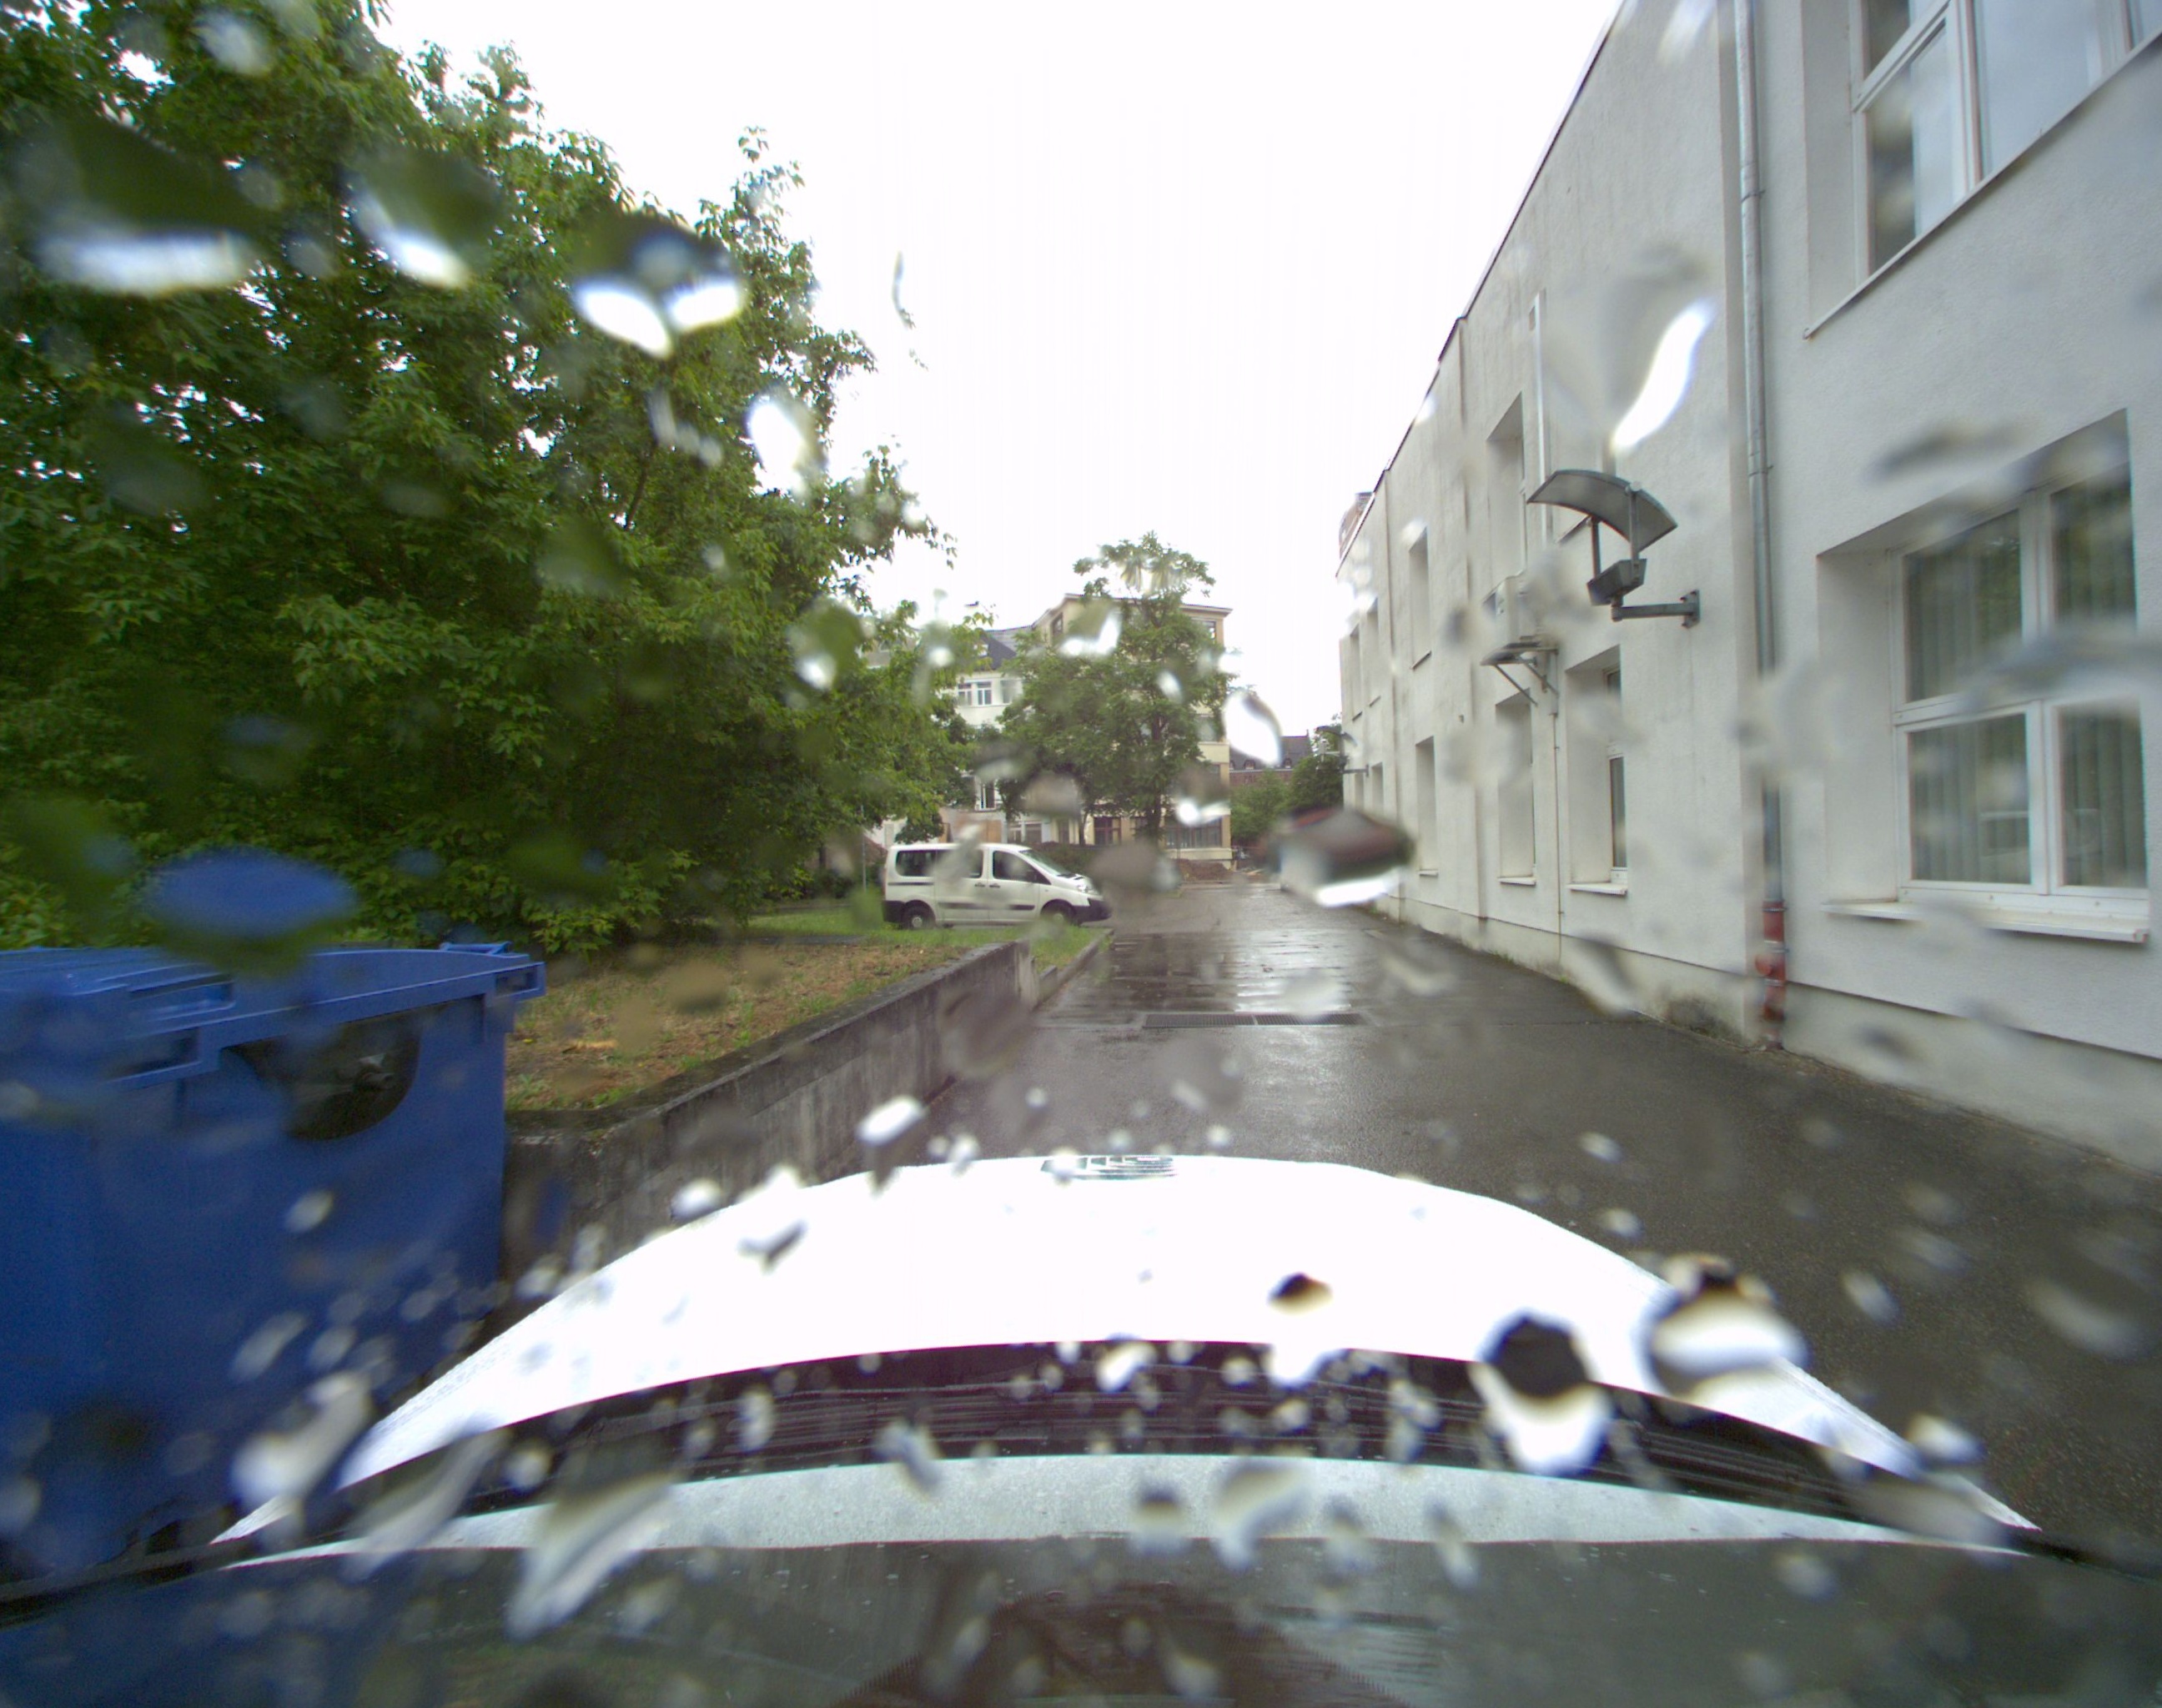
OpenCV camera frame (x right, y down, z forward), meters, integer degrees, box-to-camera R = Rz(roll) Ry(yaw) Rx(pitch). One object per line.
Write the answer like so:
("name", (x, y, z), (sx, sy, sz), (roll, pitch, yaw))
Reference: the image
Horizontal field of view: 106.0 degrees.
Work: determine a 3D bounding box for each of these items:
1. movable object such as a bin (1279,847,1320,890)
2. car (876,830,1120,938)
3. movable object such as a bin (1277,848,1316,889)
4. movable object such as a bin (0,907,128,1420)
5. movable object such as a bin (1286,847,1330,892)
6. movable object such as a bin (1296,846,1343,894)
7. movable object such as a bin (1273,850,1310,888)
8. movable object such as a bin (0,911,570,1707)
("movable object such as a bin", (7.741, 0.540, 28.932), (1.208, 1.468, 1.238), (-1, -2, 6))
("car", (-1.686, 0.621, 17.465), (4.752, 2.013, 2.005), (-2, 0, 9))
("movable object such as a bin", (7.996, 0.552, 30.293), (1.208, 1.437, 1.261), (-1, -2, 7))
("movable object such as a bin", (-3.523, 0.853, 1.992), (1.214, 1.337, 1.009), (-2, 1, 9))
("movable object such as a bin", (7.590, 0.523, 27.343), (1.208, 1.437, 1.296), (-1, -2, 7))
("movable object such as a bin", (7.481, 0.508, 25.608), (1.208, 1.437, 1.238), (-1, -2, 6))
("movable object such as a bin", (8.178, 0.602, 31.663), (1.208, 1.437, 1.261), (-1, -2, 7))
("movable object such as a bin", (-2.179, 0.856, 1.944), (1.214, 1.337, 1.009), (-2, 0, 9))
